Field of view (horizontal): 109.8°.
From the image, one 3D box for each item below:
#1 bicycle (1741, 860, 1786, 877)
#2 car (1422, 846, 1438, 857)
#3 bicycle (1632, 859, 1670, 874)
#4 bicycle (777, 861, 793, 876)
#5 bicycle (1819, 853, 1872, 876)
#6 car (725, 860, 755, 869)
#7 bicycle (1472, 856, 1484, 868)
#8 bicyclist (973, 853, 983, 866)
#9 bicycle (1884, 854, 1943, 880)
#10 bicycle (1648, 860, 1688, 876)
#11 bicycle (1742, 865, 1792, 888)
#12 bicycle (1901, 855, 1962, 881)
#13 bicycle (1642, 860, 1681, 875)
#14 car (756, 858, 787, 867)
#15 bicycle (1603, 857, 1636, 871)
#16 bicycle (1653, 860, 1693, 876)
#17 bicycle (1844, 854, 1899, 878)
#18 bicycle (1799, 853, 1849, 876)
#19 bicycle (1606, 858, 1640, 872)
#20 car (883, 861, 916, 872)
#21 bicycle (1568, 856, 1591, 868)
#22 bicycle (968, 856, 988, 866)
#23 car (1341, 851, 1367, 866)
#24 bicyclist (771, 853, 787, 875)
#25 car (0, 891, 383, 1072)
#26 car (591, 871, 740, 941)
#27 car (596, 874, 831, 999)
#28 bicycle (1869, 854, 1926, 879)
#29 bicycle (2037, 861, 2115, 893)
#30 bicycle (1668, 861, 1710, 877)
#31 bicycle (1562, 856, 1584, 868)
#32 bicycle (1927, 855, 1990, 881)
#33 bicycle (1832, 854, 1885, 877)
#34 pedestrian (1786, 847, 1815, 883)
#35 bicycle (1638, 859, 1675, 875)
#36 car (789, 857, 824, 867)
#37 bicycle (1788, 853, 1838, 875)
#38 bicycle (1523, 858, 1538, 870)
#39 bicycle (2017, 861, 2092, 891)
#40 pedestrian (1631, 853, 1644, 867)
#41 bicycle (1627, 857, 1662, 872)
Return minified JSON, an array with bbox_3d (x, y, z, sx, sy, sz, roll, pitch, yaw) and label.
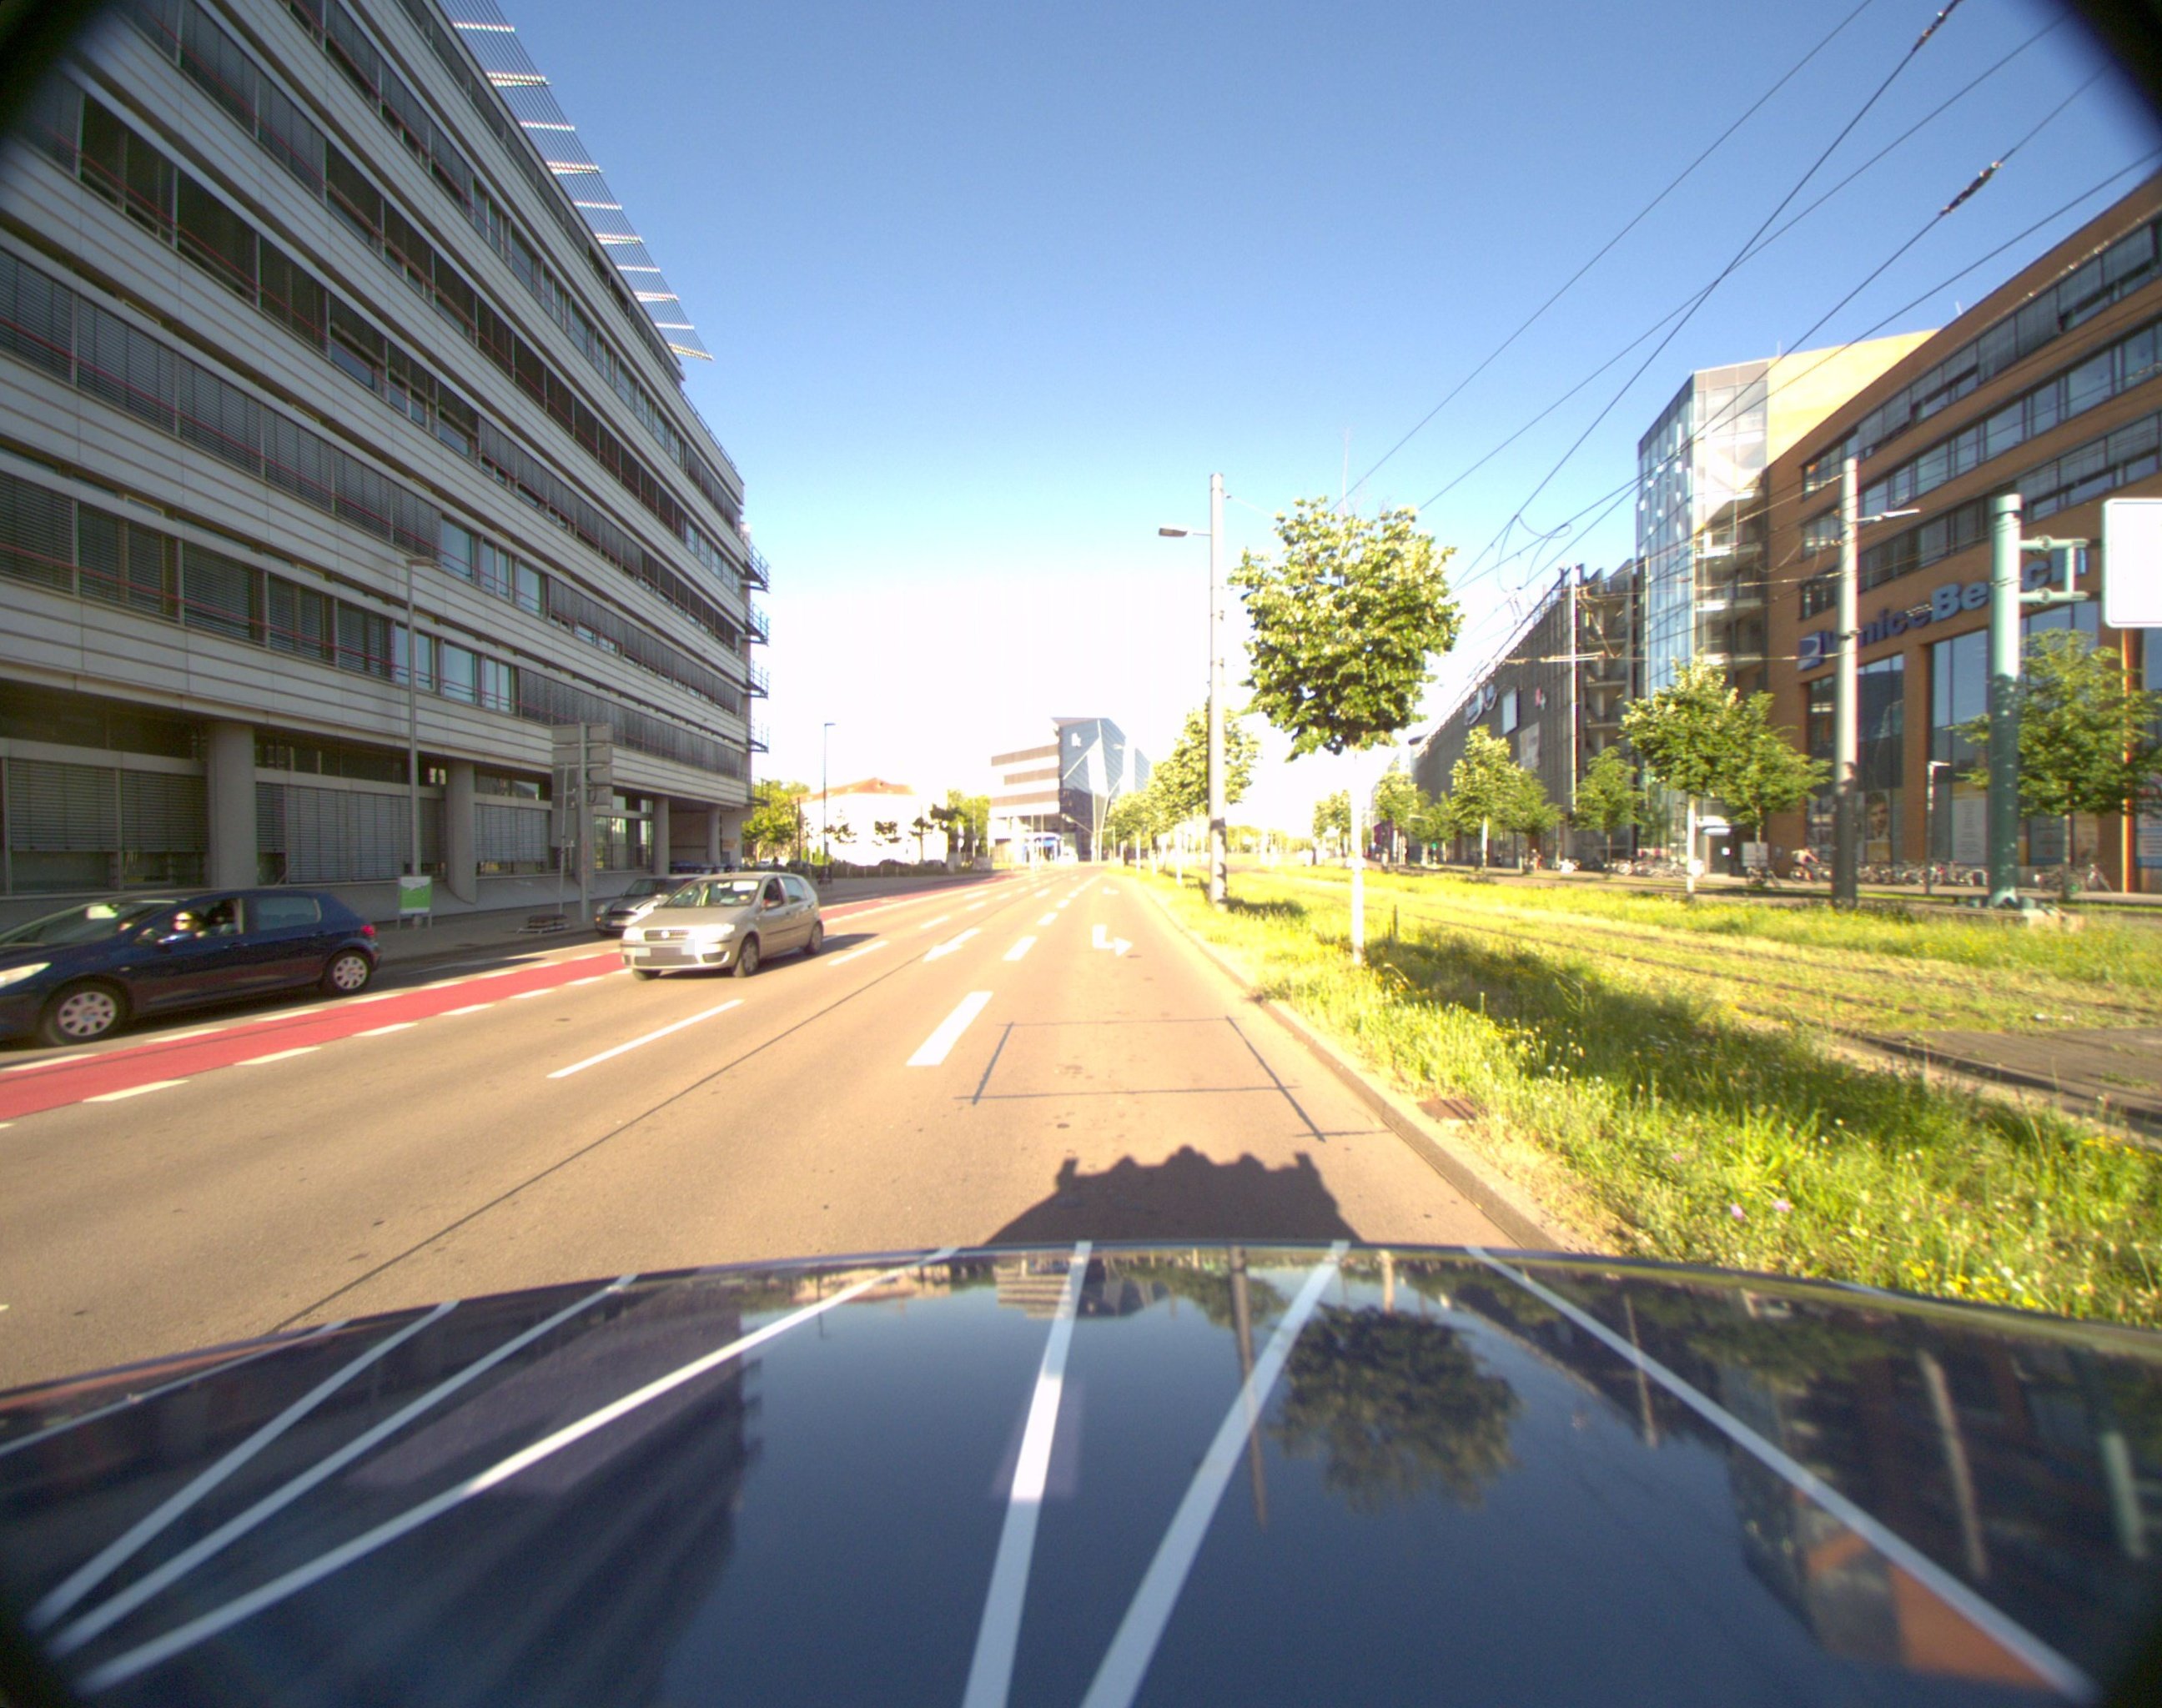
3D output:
[{"bbox_3d":[37.433,0.803,41.701,1.768,0.921,0.565,-1,1,17],"label":"bicycle"},{"bbox_3d":[54.249,-0.371,118.118,1.582,1.521,3.754,-2,1,13],"label":"car"},{"bbox_3d":[35.418,0.785,47.236,1.768,0.921,0.565,-1,1,17],"label":"bicycle"},{"bbox_3d":[-22.179,1.060,56.965,0.505,1.052,1.702,2,1,2],"label":"bicycle"},{"bbox_3d":[35.574,0.509,35.369,1.769,1.043,0.491,-1,1,8],"label":"bicycle"},{"bbox_3d":[-51.394,1.570,114.477,3.990,1.368,1.938,-1,1,24],"label":"car"},{"bbox_3d":[31.581,0.665,60.480,0.386,0.918,1.773,0,1,13],"label":"bicycle"},{"bbox_3d":[-13.310,0.743,98.108,1.006,1.598,0.880,-1,1,14],"label":"bicyclist"},{"bbox_3d":[35.113,0.554,32.067,1.769,1.043,0.491,-1,1,8],"label":"bicycle"},{"bbox_3d":[34.887,0.821,45.183,1.768,0.921,0.565,-1,1,17],"label":"bicycle"},{"bbox_3d":[27.988,0.921,31.029,0.464,0.863,1.771,-1,1,1],"label":"bicycle"},{"bbox_3d":[35.035,0.563,31.312,1.769,1.043,0.491,-1,1,8],"label":"bicycle"},{"bbox_3d":[35.084,0.808,45.924,1.768,0.921,0.565,-1,1,17],"label":"bicycle"},{"bbox_3d":[-45.701,1.274,112.237,3.990,1.237,2.003,-1,1,22],"label":"car"},{"bbox_3d":[36.700,0.700,51.806,1.768,0.921,0.491,-1,1,17],"label":"bicycle"},{"bbox_3d":[34.635,0.836,44.484,1.768,0.921,0.565,-1,1,17],"label":"bicycle"},{"bbox_3d":[35.362,0.529,33.989,1.769,1.043,0.491,-1,1,8],"label":"bicycle"},{"bbox_3d":[35.599,0.499,36.417,1.769,1.043,0.491,-1,1,8],"label":"bicycle"},{"bbox_3d":[36.494,0.713,51.135,1.768,0.921,0.565,-1,1,17],"label":"bicycle"},{"bbox_3d":[-24.972,1.735,104.484,3.991,1.414,2.003,-1,1,20],"label":"car"},{"bbox_3d":[37.612,0.623,57.359,1.398,0.921,0.462,-1,1,17],"label":"bicycle"},{"bbox_3d":[-13.296,0.901,98.092,2.368,1.304,0.952,-1,1,13],"label":"bicycle"},{"bbox_3d":[25.763,0.370,71.739,1.808,1.320,4.409,0,1,13],"label":"car"},{"bbox_3d":[-22.522,0.770,56.691,0.685,1.609,0.991,-1,1,2],"label":"bicyclist"},{"bbox_3d":[-10.663,1.275,8.591,1.735,1.437,4.000,-2,1,2],"label":"car"},{"bbox_3d":[-10.246,1.212,19.109,1.439,1.437,4.000,-1,0,2],"label":"car"},{"bbox_3d":[-5.355,1.112,11.659,1.620,1.421,3.767,-2,1,2],"label":"car"},{"bbox_3d":[35.167,0.546,32.736,1.769,1.043,0.491,-1,1,8],"label":"bicycle"},{"bbox_3d":[34.088,0.783,26.047,1.769,1.043,0.491,-1,1,8],"label":"bicycle"},{"bbox_3d":[34.671,0.845,43.325,1.768,0.921,0.565,-1,1,17],"label":"bicycle"},{"bbox_3d":[38.023,0.597,58.745,1.398,0.921,0.462,-1,1,17],"label":"bicycle"},{"bbox_3d":[35.380,0.557,30.648,1.769,1.043,0.491,-1,1,8],"label":"bicycle"},{"bbox_3d":[35.450,0.520,34.661,1.769,1.043,0.491,-1,1,8],"label":"bicycle"},{"bbox_3d":[33.649,0.496,35.531,0.746,1.659,0.676,-1,1,7],"label":"pedestrian"},{"bbox_3d":[35.272,0.795,46.586,1.768,0.921,0.565,-1,1,17],"label":"bicycle"},{"bbox_3d":[-39.678,1.143,109.988,4.516,1.414,2.003,-1,1,19],"label":"car"},{"bbox_3d":[35.669,0.492,37.033,1.769,1.043,0.491,-1,1,8],"label":"bicycle"},{"bbox_3d":[32.659,0.721,55.200,0.386,0.863,1.773,0,1,13],"label":"bicycle"},{"bbox_3d":[34.170,0.774,26.672,1.769,1.043,0.491,-1,1,8],"label":"bicycle"},{"bbox_3d":[40.736,0.423,55.624,0.629,1.048,0.450,-1,1,13],"label":"pedestrian"},{"bbox_3d":[36.004,0.675,48.559,1.768,0.921,0.491,-1,1,17],"label":"bicycle"}]
